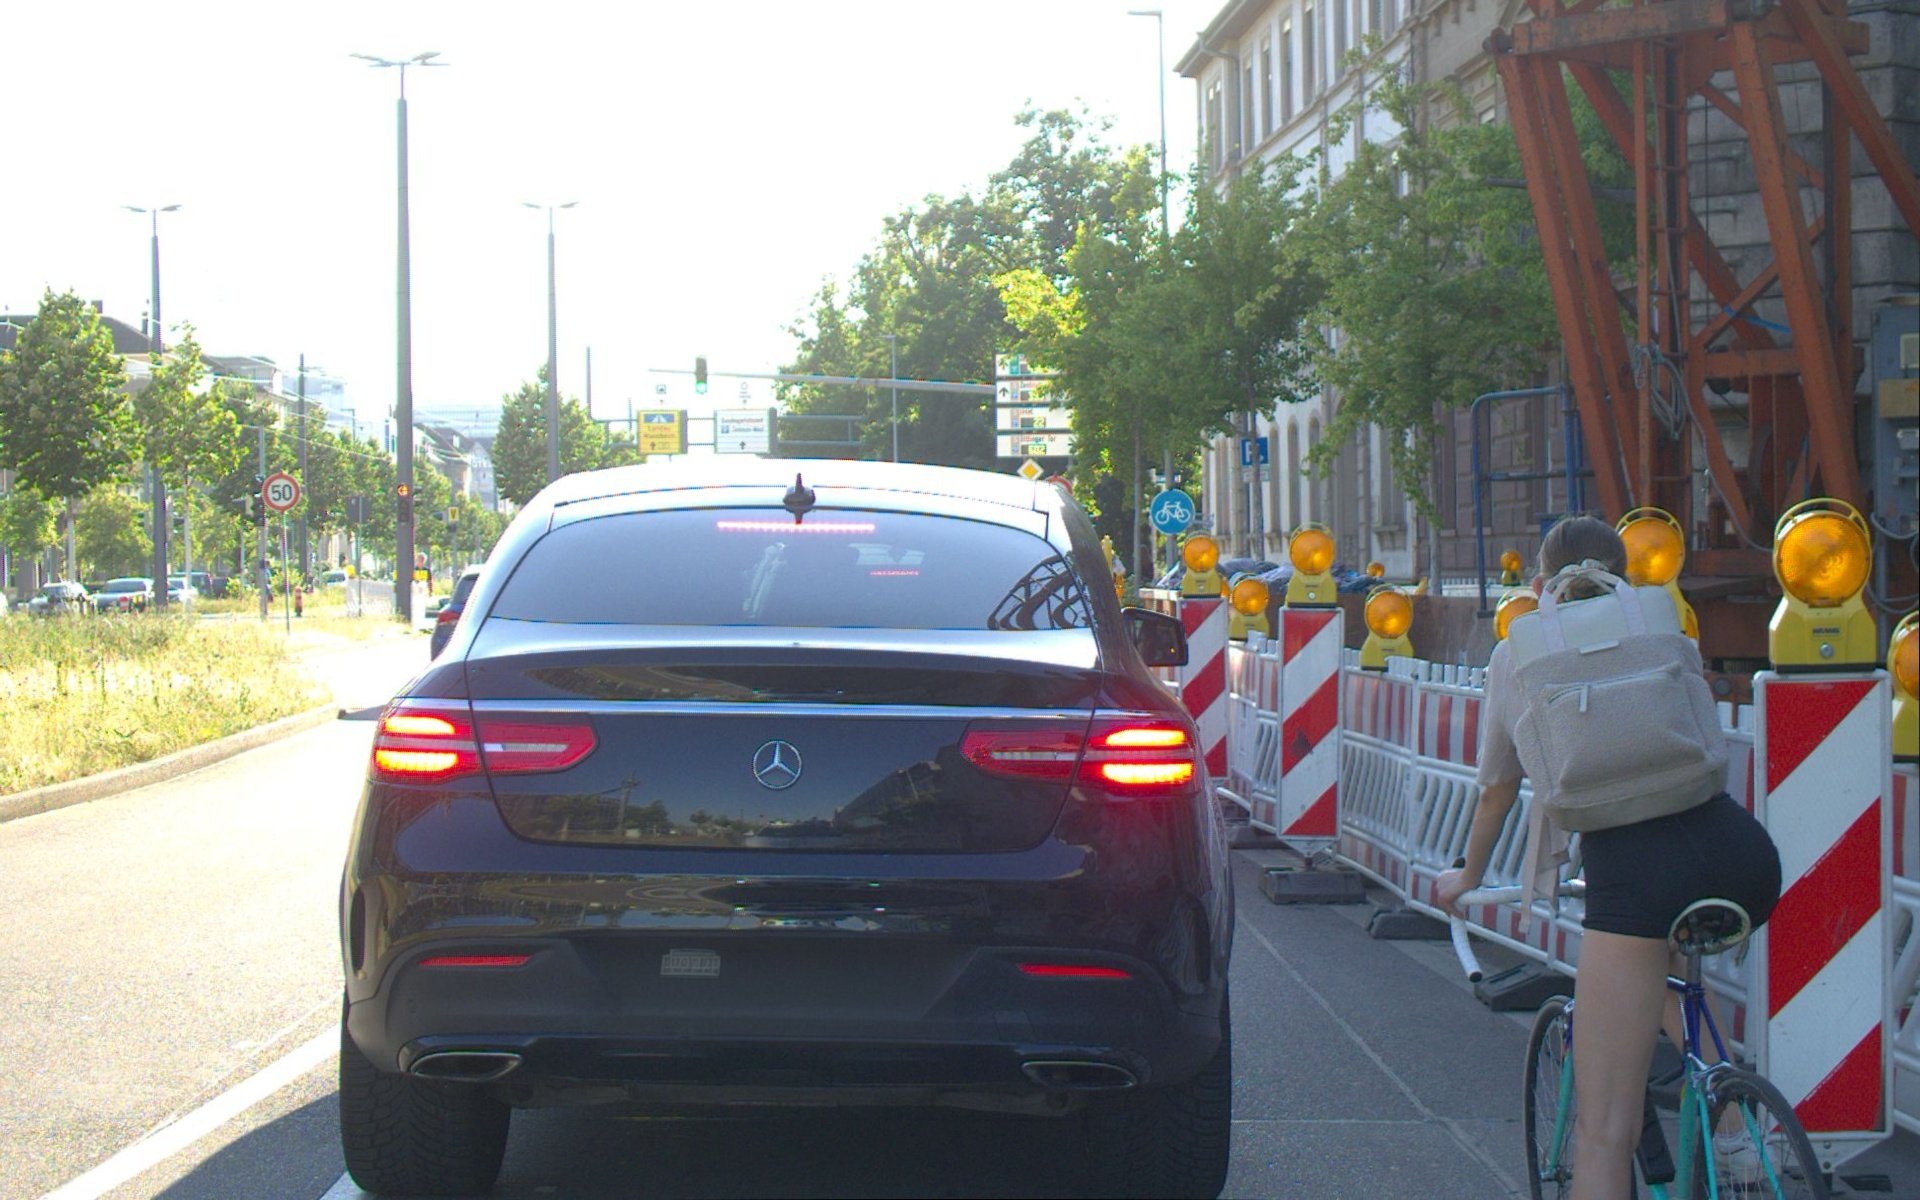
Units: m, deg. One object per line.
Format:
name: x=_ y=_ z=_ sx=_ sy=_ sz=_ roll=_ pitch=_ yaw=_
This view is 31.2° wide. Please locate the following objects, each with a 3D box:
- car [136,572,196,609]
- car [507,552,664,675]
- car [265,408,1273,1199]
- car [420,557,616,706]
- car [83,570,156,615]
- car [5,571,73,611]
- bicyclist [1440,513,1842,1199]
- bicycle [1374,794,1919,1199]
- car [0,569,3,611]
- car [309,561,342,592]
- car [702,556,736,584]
car: x=-31.560 y=-0.398 z=136.687 sx=1.708 sy=1.437 sz=3.583 roll=1 pitch=1 yaw=-3
car: x=-4.620 y=0.141 z=42.777 sx=1.708 sy=1.437 sz=3.583 roll=1 pitch=1 yaw=-3
car: x=-0.405 y=0.493 z=8.870 sx=1.993 sy=1.766 sz=4.000 roll=1 pitch=1 yaw=-1
car: x=-4.502 y=0.293 z=35.427 sx=1.708 sy=1.437 sz=3.583 roll=1 pitch=1 yaw=-3
car: x=-28.068 y=-0.264 z=114.889 sx=1.708 sy=1.437 sz=3.583 roll=1 pitch=1 yaw=-3
car: x=-34.431 y=-0.354 z=128.539 sx=1.708 sy=1.437 sz=3.583 roll=1 pitch=1 yaw=-3
bicyclist: x=1.154 y=0.554 z=5.922 sx=0.522 sy=1.391 sz=0.615 roll=1 pitch=0 yaw=-3
bicycle: x=1.141 y=0.925 z=6.052 sx=0.512 sy=1.048 sz=1.725 roll=1 pitch=1 yaw=-3
car: x=-33.462 y=-0.342 z=115.532 sx=1.708 sy=1.437 sz=3.583 roll=1 pitch=1 yaw=-3
car: x=-42.526 y=-1.603 z=230.466 sx=1.993 sy=2.007 sz=4.001 roll=1 pitch=1 yaw=-12
car: x=-12.879 y=-1.609 z=184.153 sx=1.708 sy=1.437 sz=3.583 roll=1 pitch=1 yaw=-3
